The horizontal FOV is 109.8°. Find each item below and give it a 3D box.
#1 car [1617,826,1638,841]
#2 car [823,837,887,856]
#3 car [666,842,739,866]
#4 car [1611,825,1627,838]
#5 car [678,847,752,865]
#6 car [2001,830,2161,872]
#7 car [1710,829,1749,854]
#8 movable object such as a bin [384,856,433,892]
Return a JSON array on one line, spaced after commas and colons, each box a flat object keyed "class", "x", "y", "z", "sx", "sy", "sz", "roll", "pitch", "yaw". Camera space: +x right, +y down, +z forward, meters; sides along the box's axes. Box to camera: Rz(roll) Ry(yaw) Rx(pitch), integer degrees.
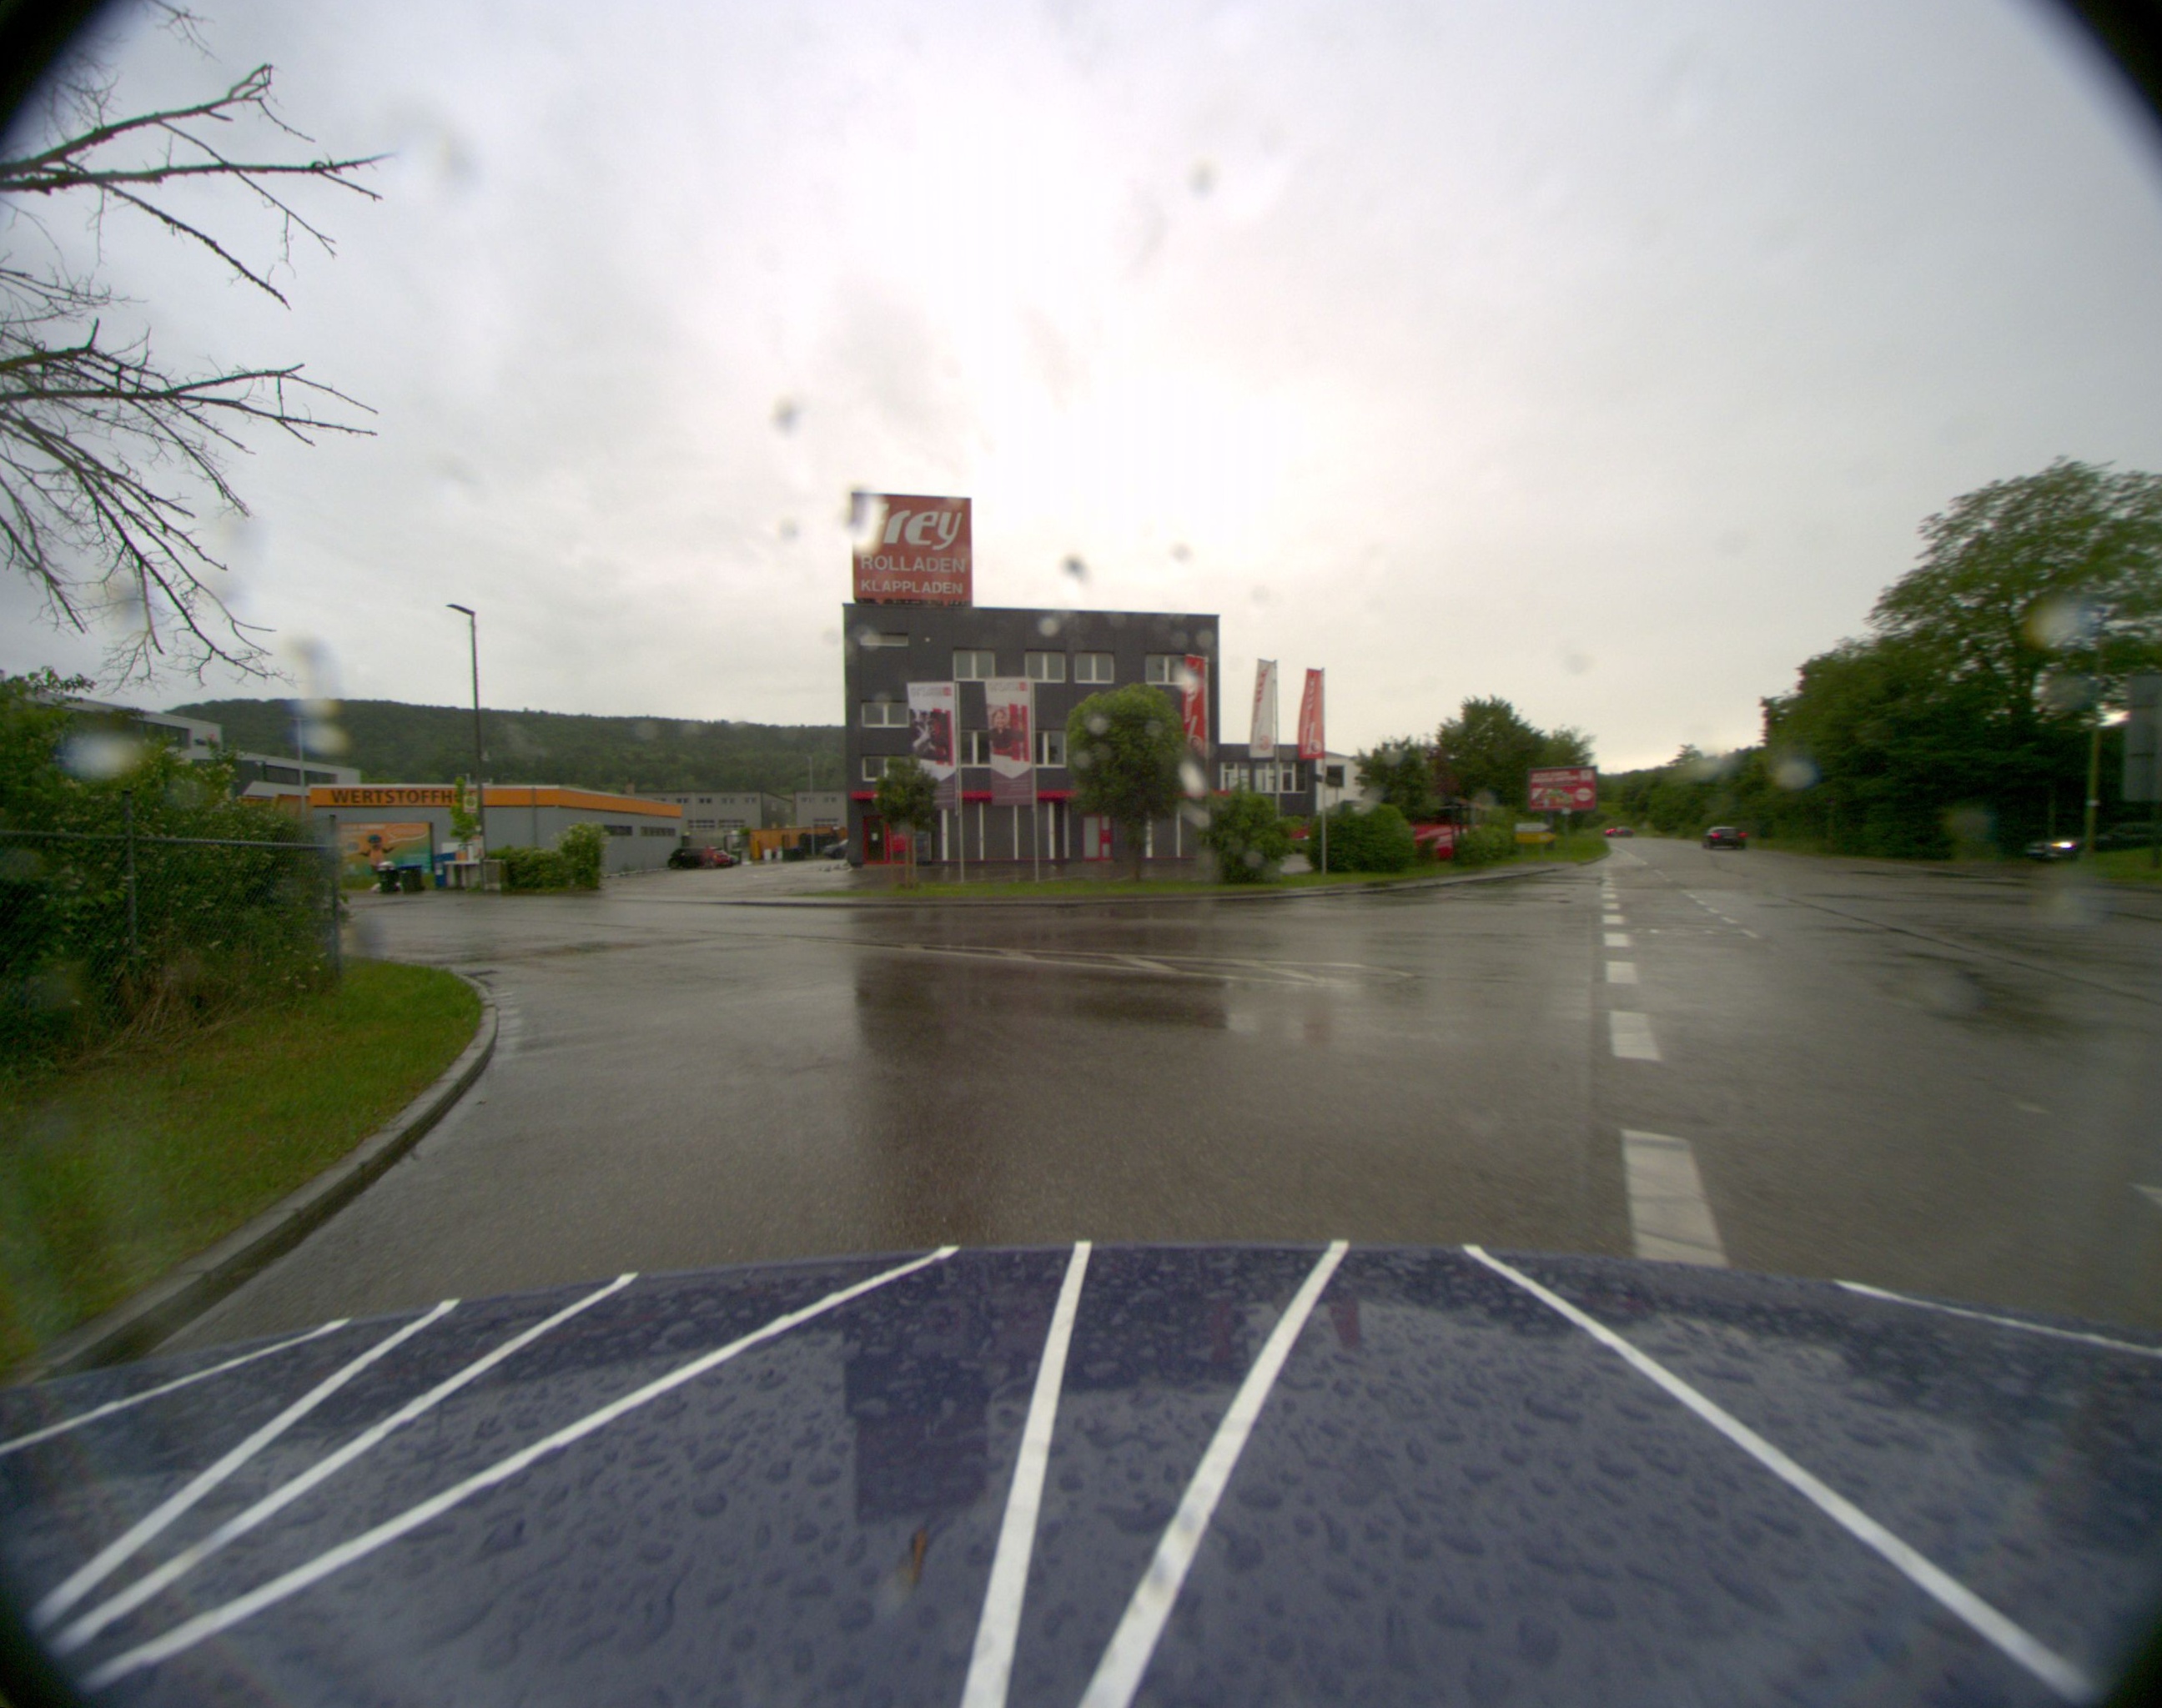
[{"class": "car", "x": 76.634, "y": -2.930, "z": 106.559, "sx": 1.994, "sy": 2.003, "sz": 4.006, "roll": 0, "pitch": 3, "yaw": 30}, {"class": "car", "x": -16.811, "y": -0.573, "z": 56.589, "sx": 4.203, "sy": 1.379, "sz": 1.995, "roll": -2, "pitch": 1, "yaw": -29}, {"class": "car", "x": -25.240, "y": -0.006, "z": 50.741, "sx": 3.994, "sy": 1.566, "sz": 1.925, "roll": -1, "pitch": 1, "yaw": 10}, {"class": "car", "x": 86.244, "y": -3.635, "z": 121.832, "sx": 1.805, "sy": 2.003, "sz": 4.006, "roll": 0, "pitch": 3, "yaw": 30}, {"class": "car", "x": -25.634, "y": 0.163, "z": 53.329, "sx": 4.192, "sy": 1.154, "sz": 1.932, "roll": -1, "pitch": 1, "yaw": 3}, {"class": "car", "x": 37.242, "y": -0.122, "z": 27.839, "sx": 4.111, "sy": 1.481, "sz": 1.859, "roll": 0, "pitch": 1, "yaw": 21}, {"class": "car", "x": 41.798, "y": -0.813, "z": 48.962, "sx": 1.830, "sy": 1.515, "sz": 4.008, "roll": 0, "pitch": 2, "yaw": 41}, {"class": "movable object such as a bin", "x": -25.614, "y": 0.755, "z": 28.941, "sx": 1.000, "sy": 1.315, "sz": 0.982, "roll": 0, "pitch": 2, "yaw": 19}]
